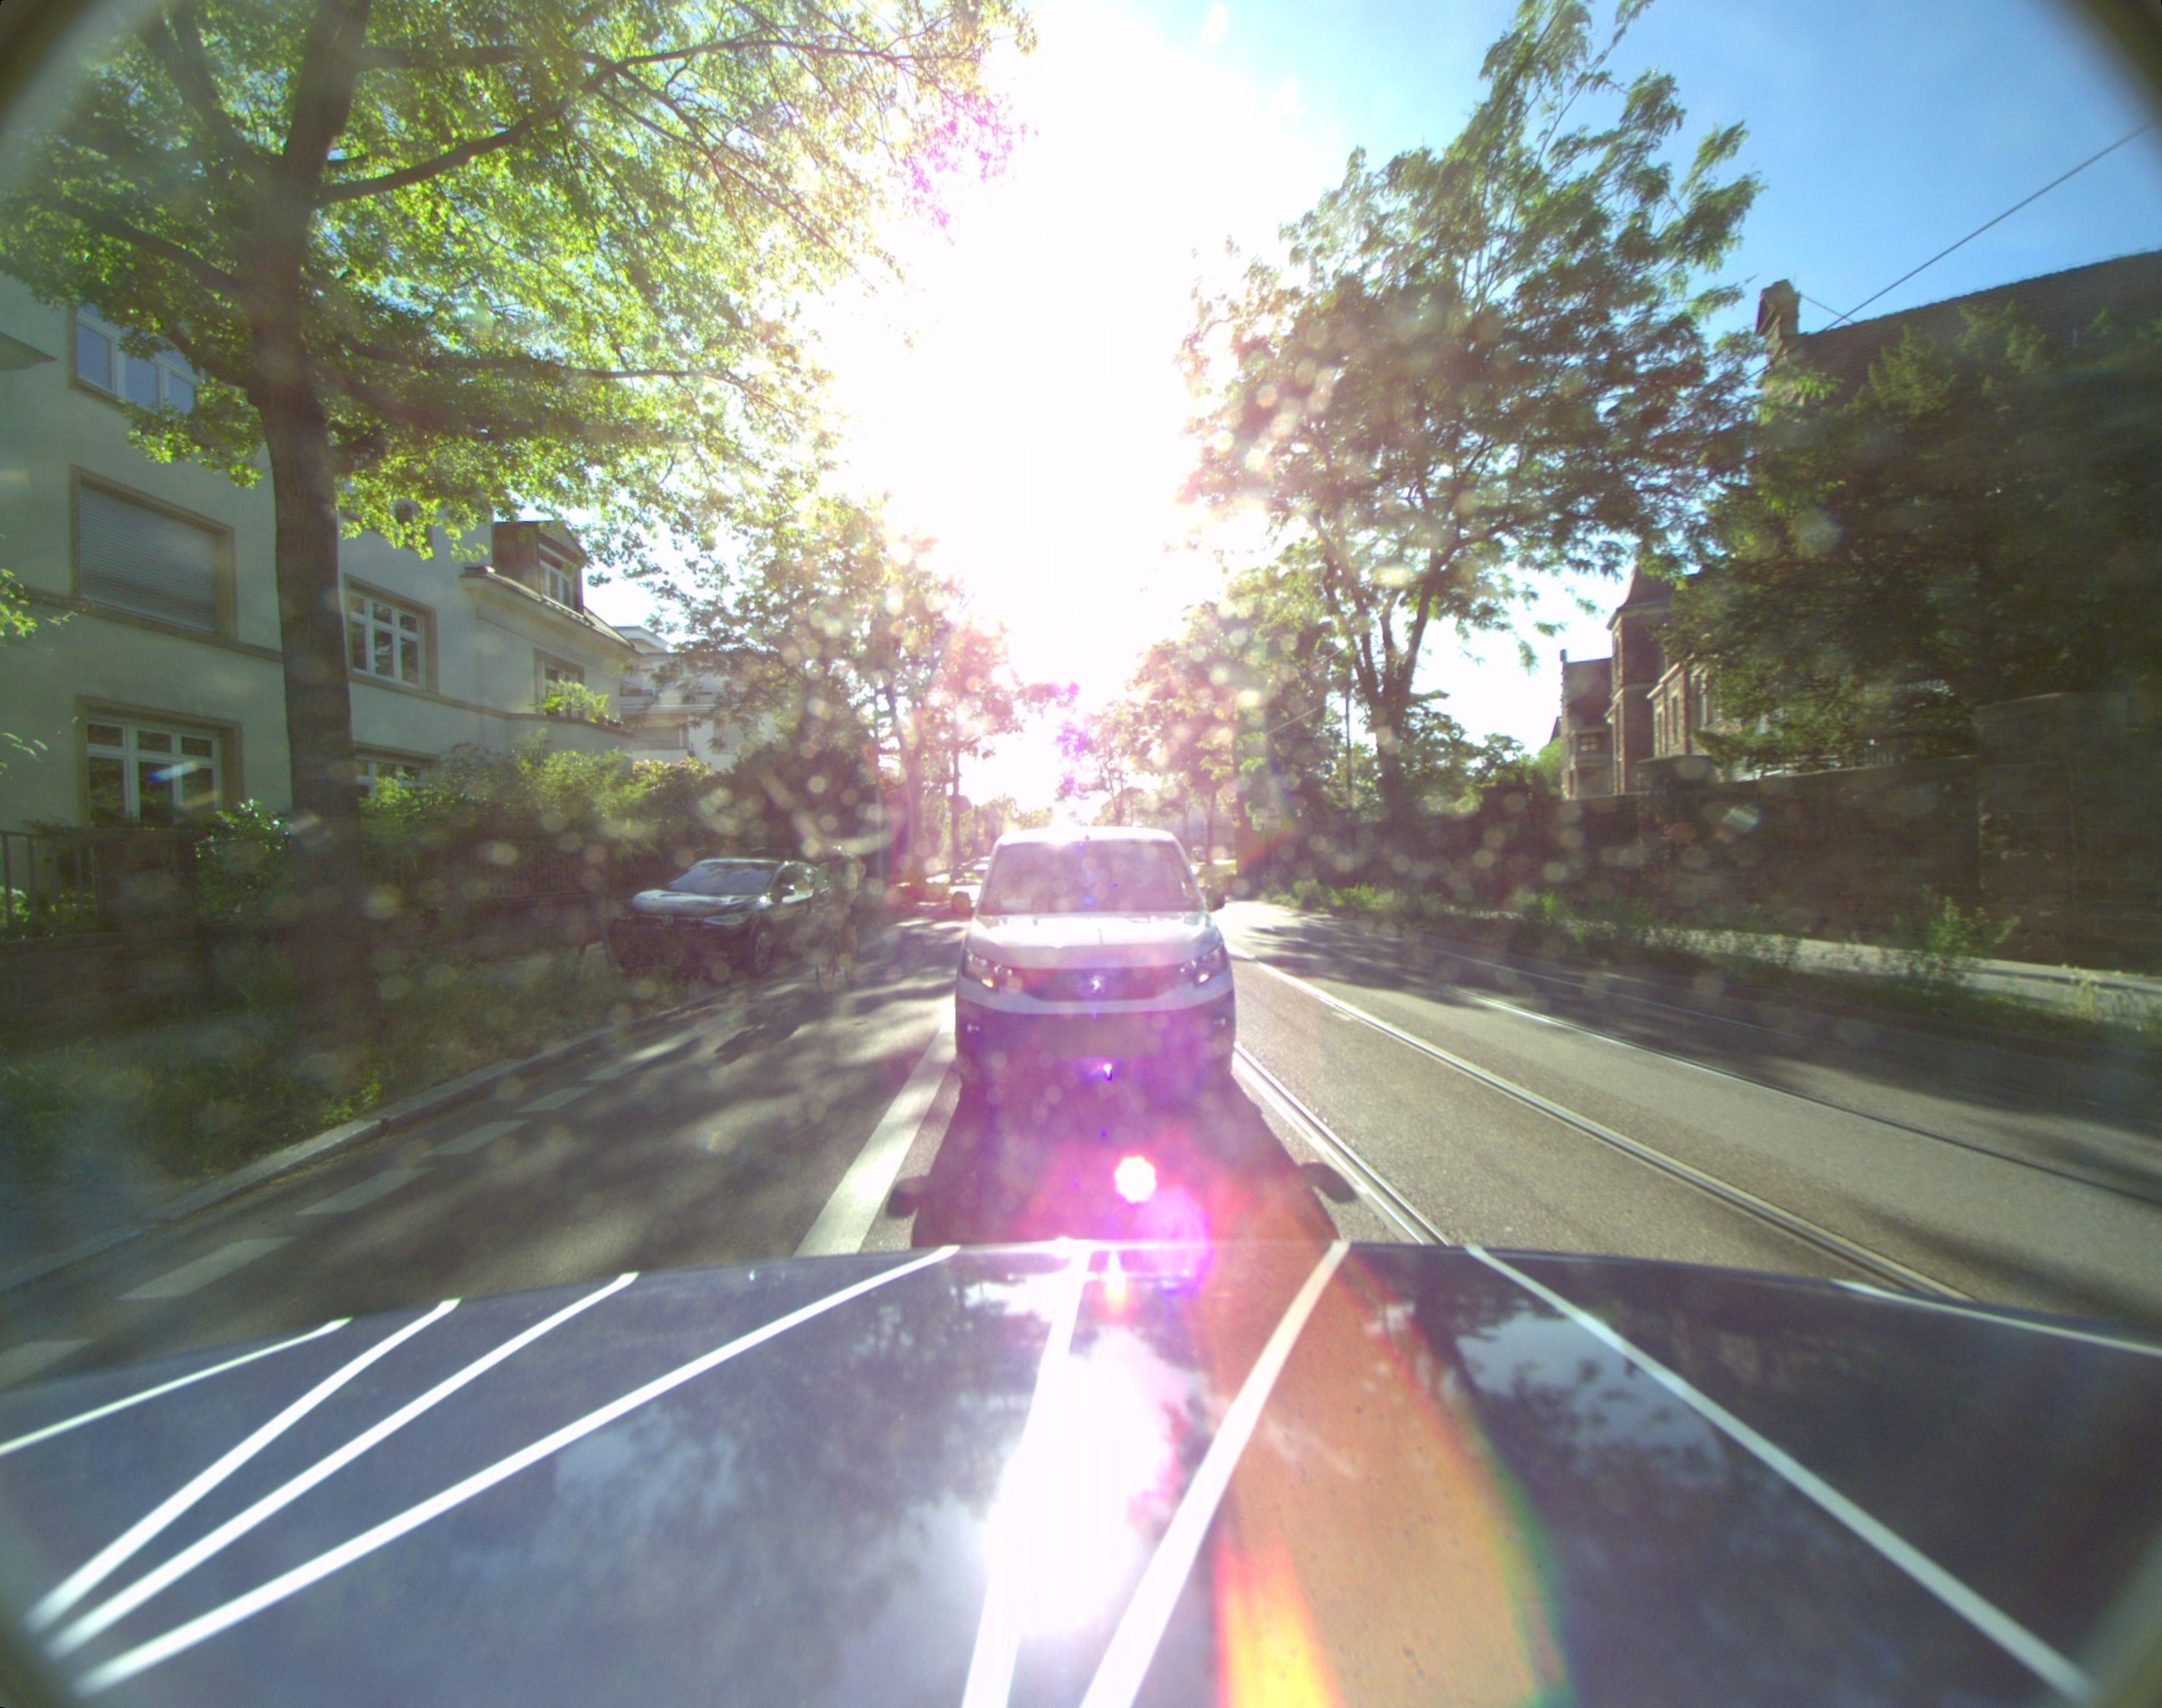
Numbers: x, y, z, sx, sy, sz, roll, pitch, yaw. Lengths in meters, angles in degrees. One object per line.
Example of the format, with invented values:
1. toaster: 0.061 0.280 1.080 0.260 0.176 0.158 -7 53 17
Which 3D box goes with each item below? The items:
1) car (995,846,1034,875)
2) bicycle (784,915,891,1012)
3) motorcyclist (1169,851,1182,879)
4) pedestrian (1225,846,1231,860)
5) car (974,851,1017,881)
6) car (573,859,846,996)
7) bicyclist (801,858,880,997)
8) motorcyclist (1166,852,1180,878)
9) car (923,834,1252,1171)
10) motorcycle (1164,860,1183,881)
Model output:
1. car: -4.490 0.413 52.011 2.129 1.884 4.746 -2 0 1
2. bicycle: -2.964 1.307 9.467 0.677 0.920 1.885 -2 0 1
3. motorcyclist: 5.182 0.597 41.600 0.608 1.507 0.465 -2 1 -7
4. pedestrian: 25.336 -0.184 130.954 0.767 2.353 0.927 -2 1 17
5. car: -5.046 0.668 45.224 1.823 1.630 4.001 -2 0 4
6. car: -5.252 0.936 11.550 1.999 1.665 4.380 1 -1 0
7. bicyclist: -2.971 0.880 9.447 0.677 1.648 0.745 -2 1 1
8. motorcyclist: 5.086 0.611 42.094 0.686 1.432 0.446 -2 1 -6
9. car: 0.031 0.802 6.130 1.768 1.812 3.999 -1 0 0
10. motorcycle: 5.129 0.910 42.154 0.611 1.087 1.855 -2 0 -7
